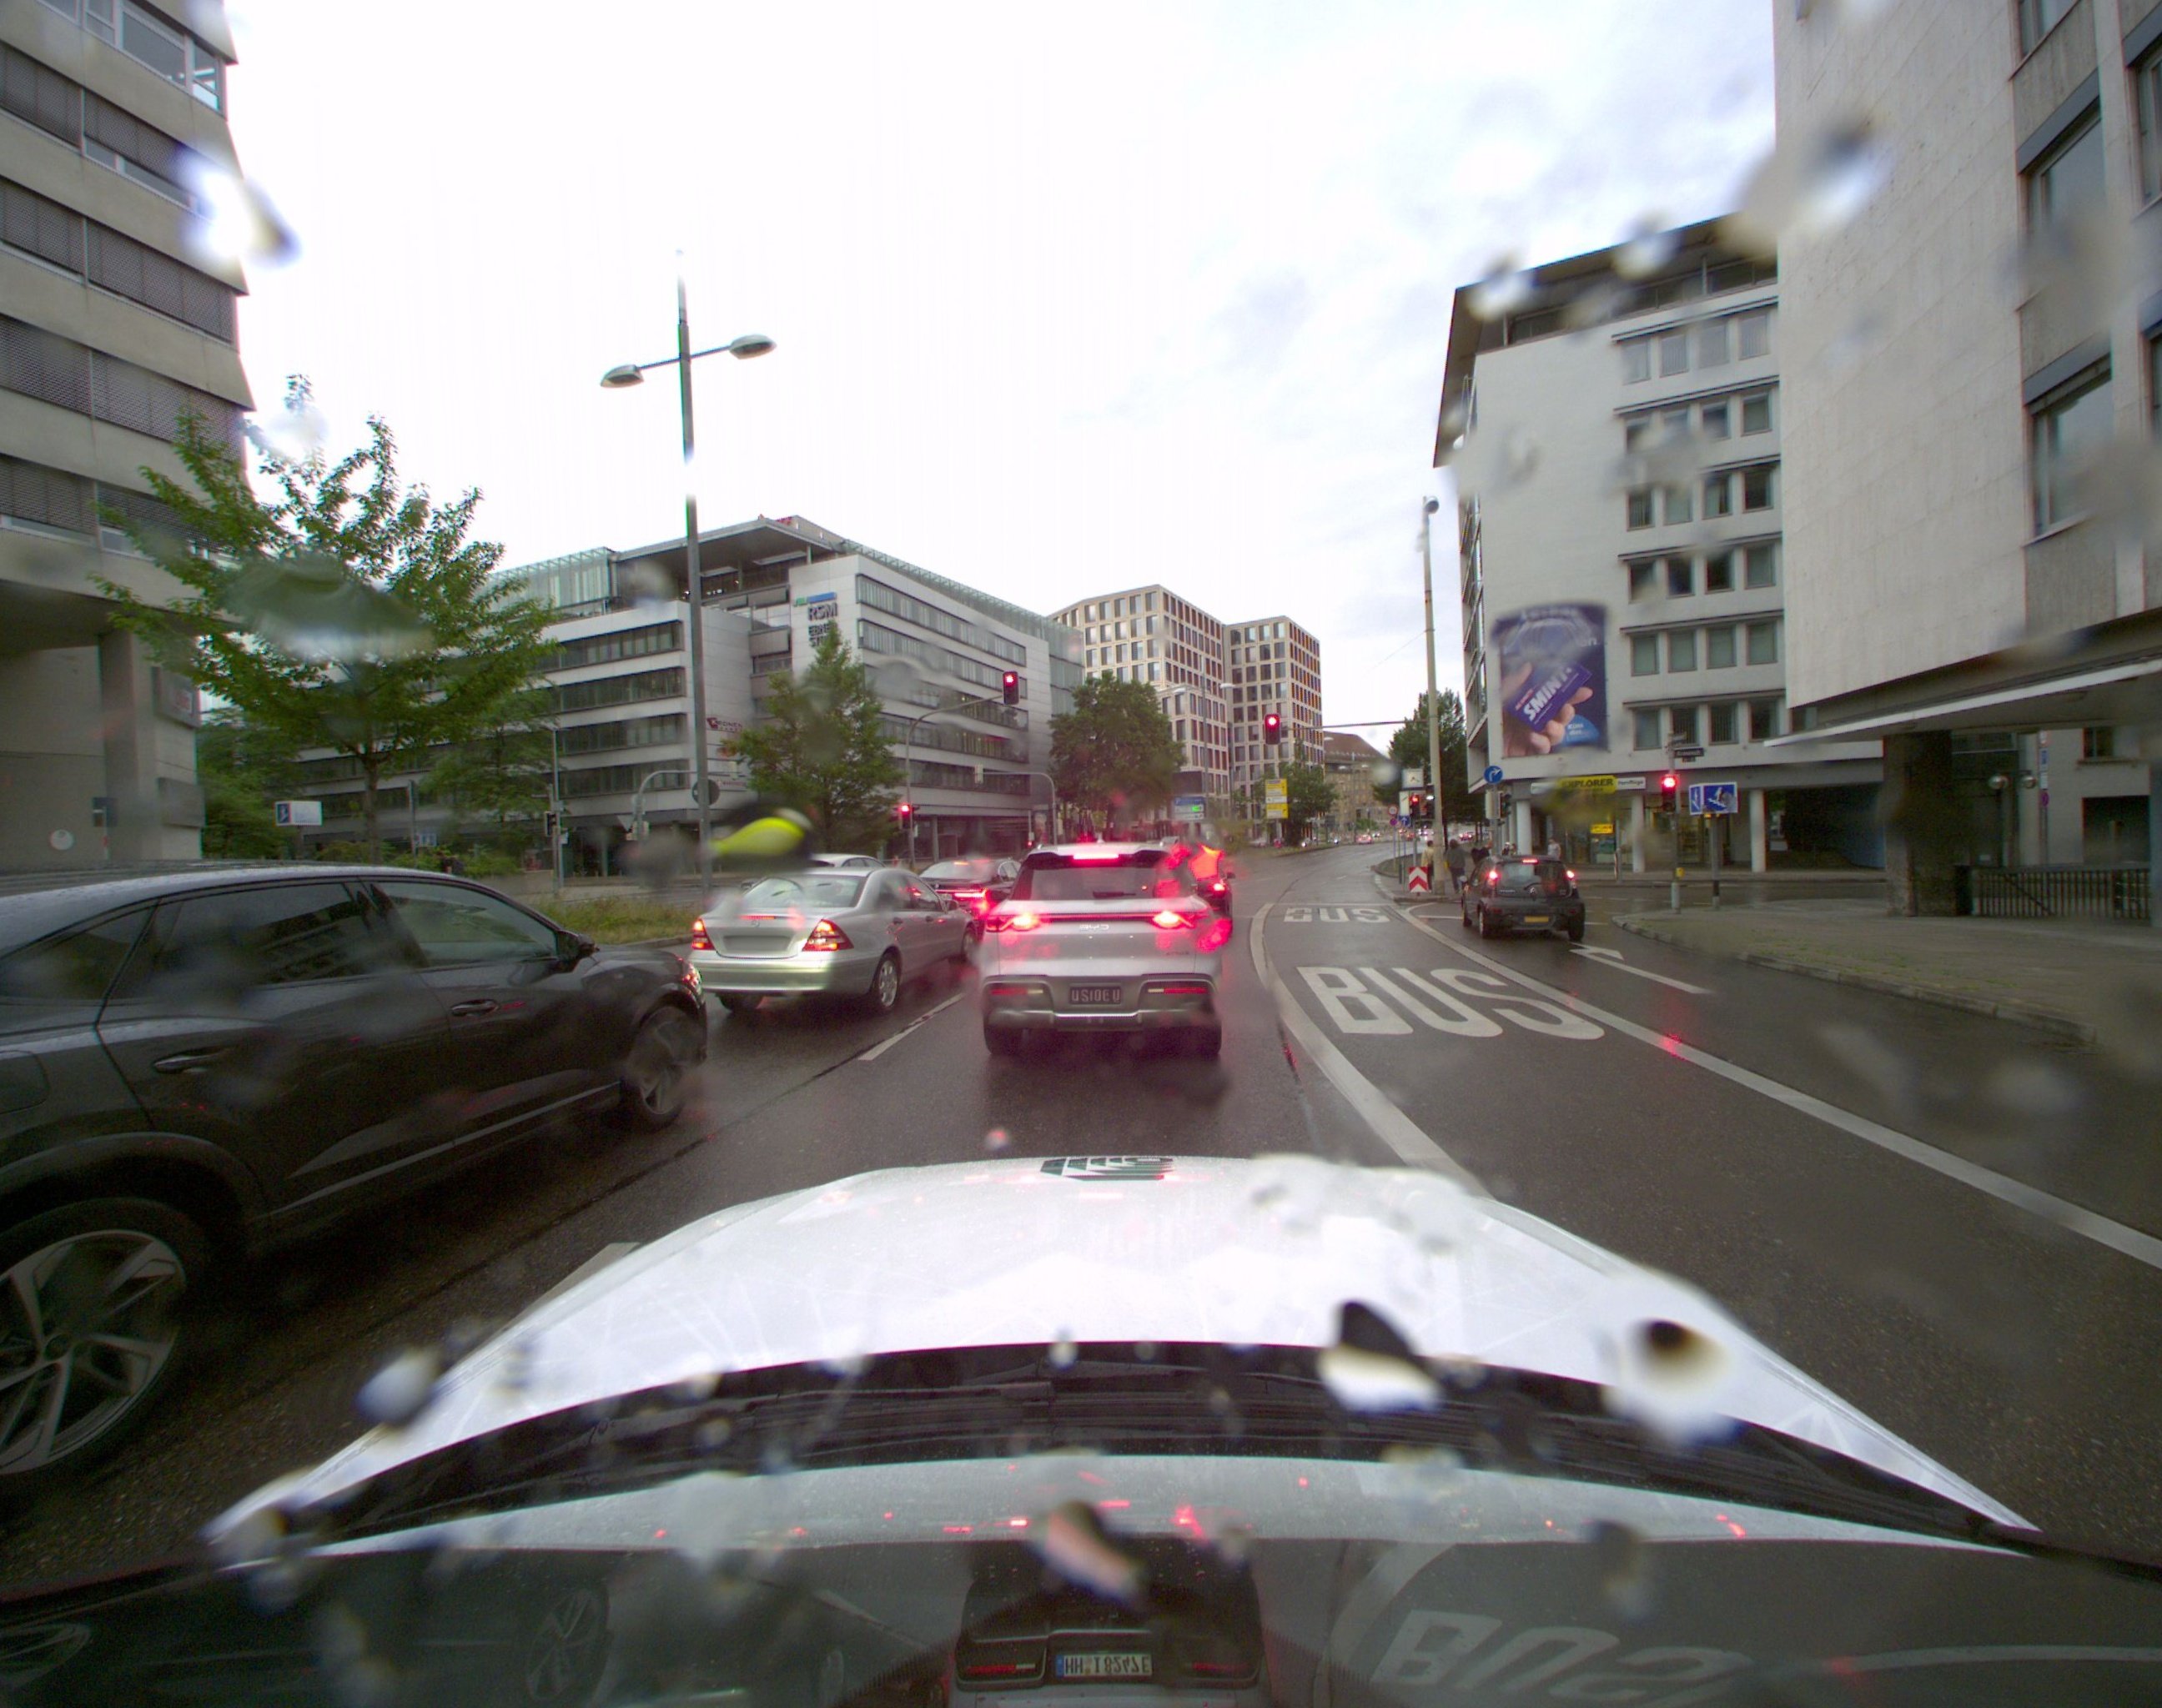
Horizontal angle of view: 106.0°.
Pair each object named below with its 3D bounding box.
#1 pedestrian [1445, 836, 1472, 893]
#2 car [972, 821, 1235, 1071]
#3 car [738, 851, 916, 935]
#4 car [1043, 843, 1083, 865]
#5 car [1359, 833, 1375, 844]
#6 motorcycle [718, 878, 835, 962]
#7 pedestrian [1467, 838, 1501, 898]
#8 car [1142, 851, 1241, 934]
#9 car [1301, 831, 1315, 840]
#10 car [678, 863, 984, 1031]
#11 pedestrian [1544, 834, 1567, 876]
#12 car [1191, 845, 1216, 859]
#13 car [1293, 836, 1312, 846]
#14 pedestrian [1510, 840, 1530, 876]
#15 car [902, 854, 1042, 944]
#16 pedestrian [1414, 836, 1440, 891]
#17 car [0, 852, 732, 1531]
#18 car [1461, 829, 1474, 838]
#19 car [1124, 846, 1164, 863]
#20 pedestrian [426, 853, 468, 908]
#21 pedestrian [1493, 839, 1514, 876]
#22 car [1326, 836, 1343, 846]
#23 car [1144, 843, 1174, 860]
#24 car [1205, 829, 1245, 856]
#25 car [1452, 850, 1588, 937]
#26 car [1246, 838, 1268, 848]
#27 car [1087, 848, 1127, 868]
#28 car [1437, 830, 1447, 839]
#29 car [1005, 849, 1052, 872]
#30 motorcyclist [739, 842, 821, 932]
[{"bbox_3d":[12.307,0.337,26.561,0.742,1.798,0.821,-1,1,22],"label":"pedestrian"},{"bbox_3d":[0.283,0.639,7.505,1.768,1.679,4.004,-1,-1,4],"label":"car"},{"bbox_3d":[-4.964,0.707,16.517,1.696,1.486,4.013,-1,-1,11],"label":"car"},{"bbox_3d":[-1.277,0.000,59.561,1.630,1.536,4.172,-1,0,18],"label":"car"},{"bbox_3d":[43.425,-2.290,123.679,1.871,1.643,4.023,-1,0,24],"label":"car"},{"bbox_3d":[-4.796,1.001,12.992,0.795,1.185,2.034,-1,-1,11],"label":"motorcycle"},{"bbox_3d":[11.827,0.401,23.915,0.764,1.731,0.599,-1,0,16],"label":"pedestrian"},{"bbox_3d":[2.373,0.711,16.700,1.682,1.486,4.013,-1,-1,12],"label":"car"},{"bbox_3d":[45.343,-3.633,162.695,1.590,1.741,3.467,-1,-1,34],"label":"car"},{"bbox_3d":[-2.432,0.821,9.095,1.561,1.407,4.120,-1,-1,10],"label":"car"},{"bbox_3d":[20.613,0.039,35.349,0.778,1.794,0.662,-1,0,-45],"label":"pedestrian"},{"bbox_3d":[14.578,-0.277,97.096,1.616,1.559,4.620,-1,1,25],"label":"car"},{"bbox_3d":[36.647,-2.201,134.801,1.974,1.488,4.025,-1,1,29],"label":"car"},{"bbox_3d":[19.465,0.168,36.088,0.657,1.543,0.618,-1,0,-45],"label":"pedestrian"},{"bbox_3d":[-1.932,0.770,15.651,1.561,1.486,4.010,-1,-1,9],"label":"car"},{"bbox_3d":[11.572,0.310,27.253,0.742,1.798,0.821,-1,1,22],"label":"pedestrian"},{"bbox_3d":[-3.213,0.768,3.242,1.642,1.521,4.274,-1,0,2],"label":"car"},{"bbox_3d":[70.671,-3.660,148.845,1.677,1.486,4.025,-1,-1,32],"label":"car"},{"bbox_3d":[6.357,0.019,82.081,1.796,1.510,5.229,-1,1,31],"label":"car"},{"bbox_3d":[-19.811,0.817,25.447,0.672,1.683,0.766,-1,0,15],"label":"pedestrian"},{"bbox_3d":[18.995,0.142,36.626,0.657,1.655,0.662,-1,0,-45],"label":"pedestrian"},{"bbox_3d":[44.407,-2.291,142.505,1.974,1.488,4.025,-1,1,29],"label":"car"},{"bbox_3d":[7.447,-0.273,77.287,1.629,1.581,4.109,-1,0,23],"label":"car"},{"bbox_3d":[11.535,-0.874,65.036,1.975,2.014,4.876,-1,-1,25],"label":"car"},{"bbox_3d":[8.163,0.669,15.472,1.558,1.429,4.018,-1,-1,18],"label":"car"},{"bbox_3d":[26.456,-1.666,122.302,1.974,1.488,4.025,-1,1,29],"label":"car"},{"bbox_3d":[1.928,0.272,59.359,1.675,1.385,3.888,-1,-1,21],"label":"car"},{"bbox_3d":[87.138,-4.653,196.575,1.975,2.013,4.025,-1,0,29],"label":"car"},{"bbox_3d":[-3.937,0.490,62.026,1.976,1.610,4.022,-1,0,22],"label":"car"},{"bbox_3d":[-4.799,0.508,13.052,0.765,1.380,1.122,-1,-1,11],"label":"motorcyclist"}]
